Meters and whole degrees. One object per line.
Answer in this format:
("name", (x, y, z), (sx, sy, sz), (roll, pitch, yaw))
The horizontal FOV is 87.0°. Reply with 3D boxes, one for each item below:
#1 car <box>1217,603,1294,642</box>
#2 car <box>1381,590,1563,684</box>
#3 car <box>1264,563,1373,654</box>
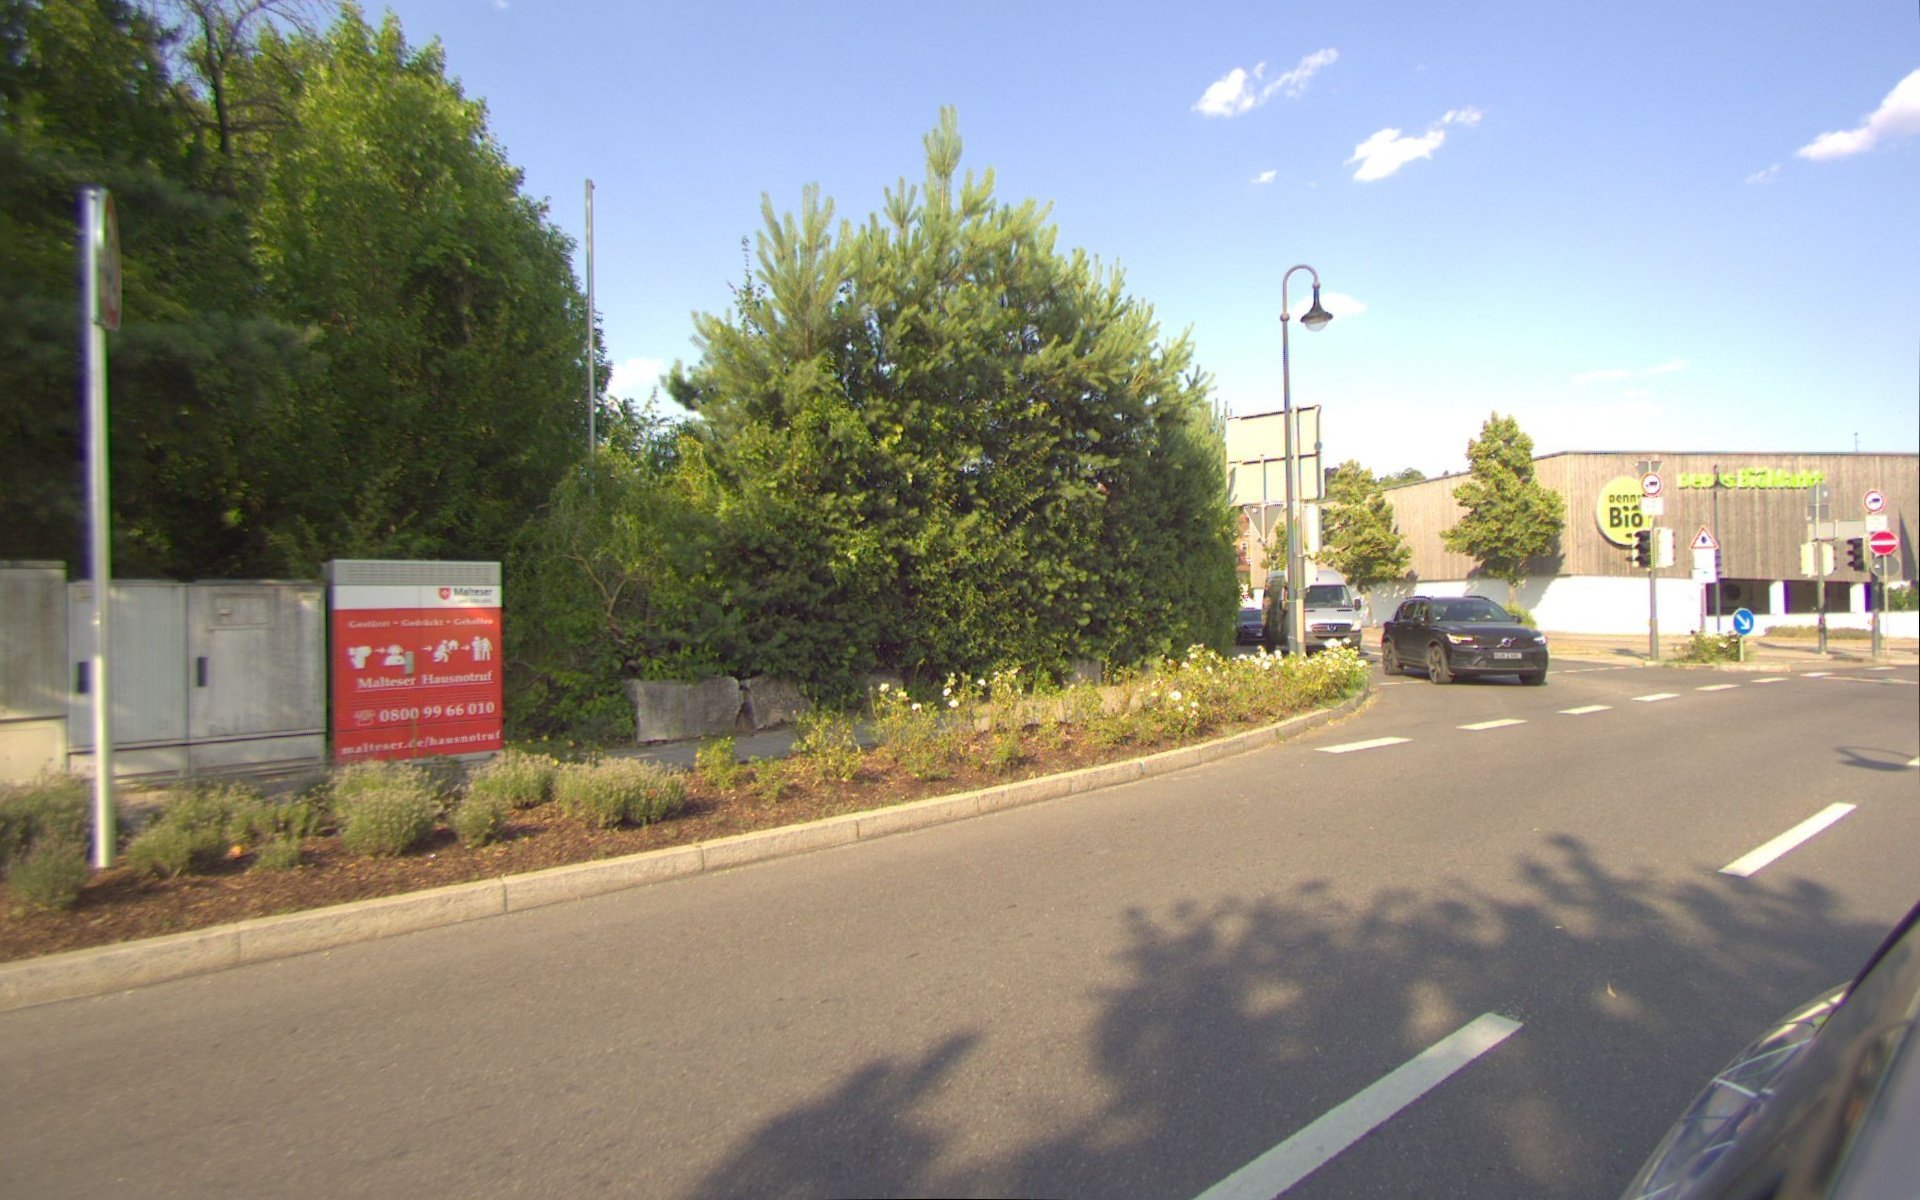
("car", (11.808, 0.864, 40.681), (1.822, 1.471, 4.001), (0, 0, -2))
("car", (9.661, 0.623, 19.489), (1.762, 1.587, 4.263), (0, 0, 7))
("car", (10.936, 0.220, 31.323), (2.158, 2.553, 5.844), (0, 0, 9))
